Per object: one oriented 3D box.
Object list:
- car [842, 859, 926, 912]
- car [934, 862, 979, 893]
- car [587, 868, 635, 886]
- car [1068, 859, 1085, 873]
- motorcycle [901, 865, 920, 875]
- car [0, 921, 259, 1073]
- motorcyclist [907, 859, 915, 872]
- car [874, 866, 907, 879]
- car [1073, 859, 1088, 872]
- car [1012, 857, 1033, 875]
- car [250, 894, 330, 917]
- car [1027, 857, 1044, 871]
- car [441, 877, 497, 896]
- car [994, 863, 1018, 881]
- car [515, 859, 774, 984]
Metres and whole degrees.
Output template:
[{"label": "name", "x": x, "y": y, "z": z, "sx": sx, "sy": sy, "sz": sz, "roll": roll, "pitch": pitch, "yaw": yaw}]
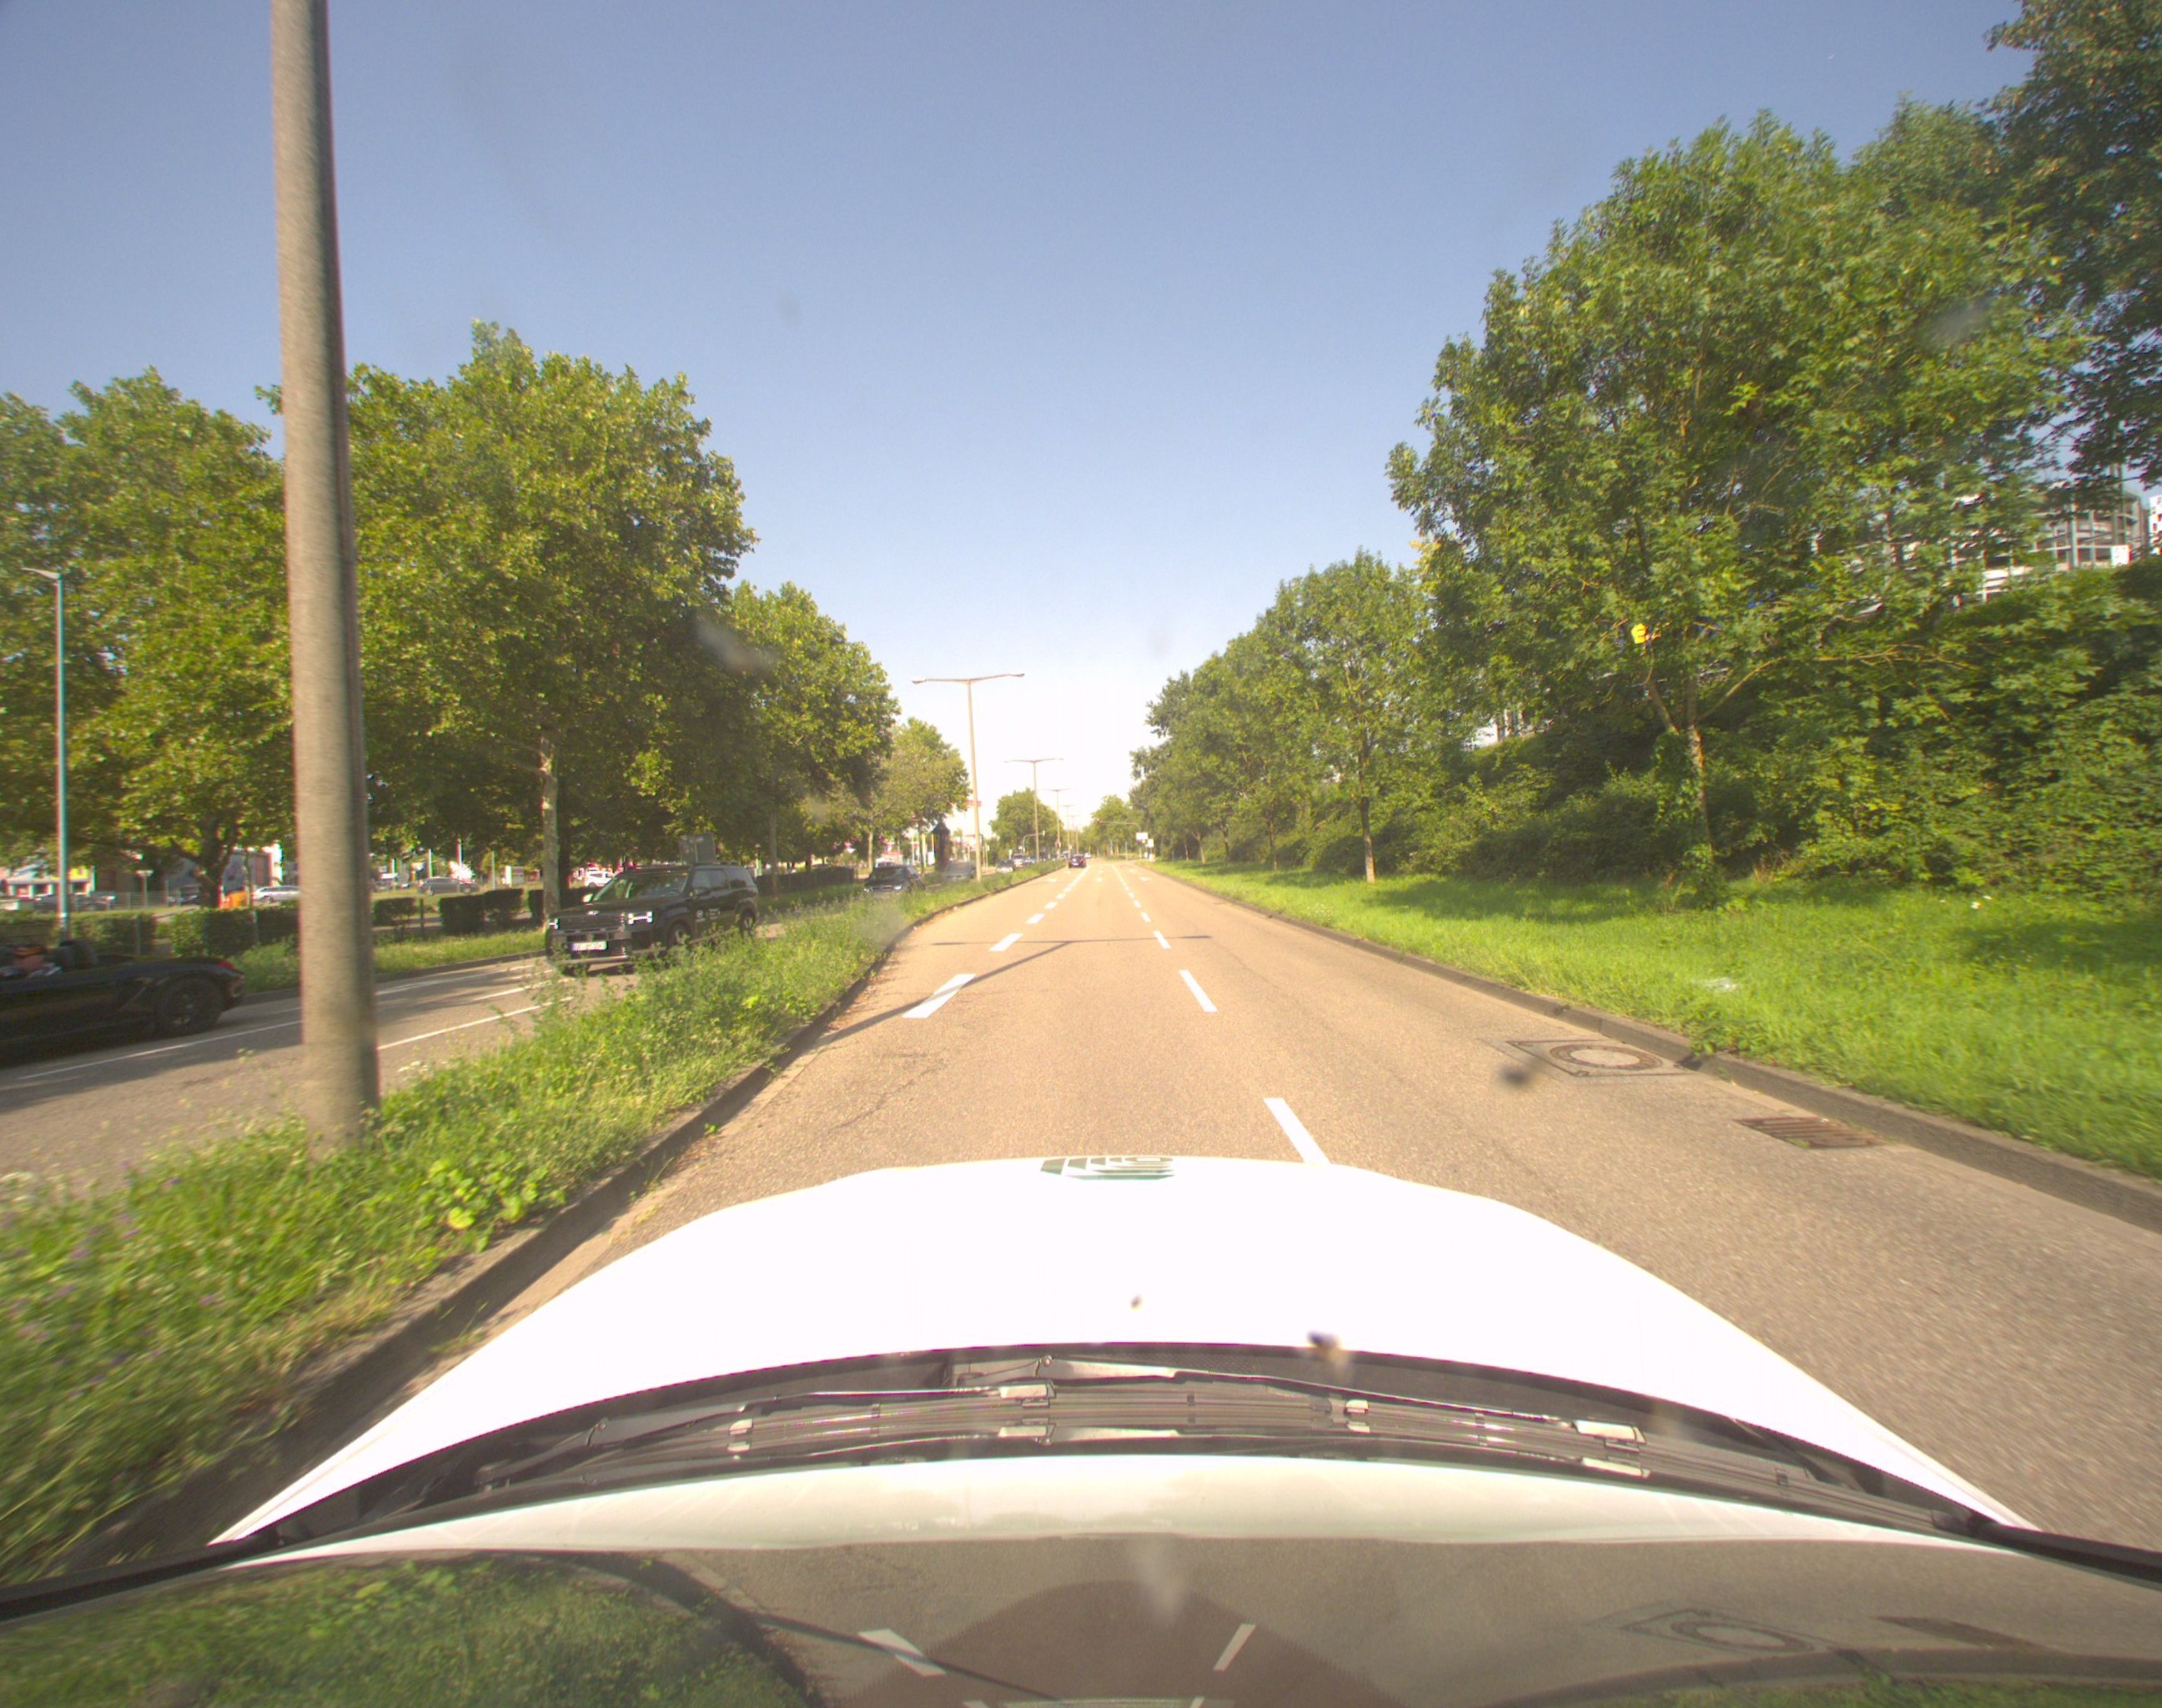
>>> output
[{"label": "car", "x": -7.529, "y": 1.144, "z": 31.627, "sx": 1.986, "sy": 1.759, "sz": 4.309, "roll": -4, "pitch": -1, "yaw": 2}, {"label": "car", "x": -7.249, "y": 1.345, "z": 47.805, "sx": 1.873, "sy": 1.594, "sz": 4.109, "roll": -3, "pitch": 0, "yaw": 1}, {"label": "car", "x": -47.119, "y": 2.263, "z": 81.715, "sx": 4.017, "sy": 1.679, "sz": 1.850, "roll": -1, "pitch": -1, "yaw": -36}, {"label": "car", "x": -0.495, "y": 1.318, "z": 93.121, "sx": 1.686, "sy": 1.486, "sz": 4.001, "roll": -3, "pitch": 0, "yaw": 1}, {"label": "motorcycle", "x": -20.802, "y": 1.949, "z": 99.399, "sx": 2.084, "sy": 1.136, "sz": 0.670, "roll": -2, "pitch": -1, "yaw": -34}, {"label": "car", "x": -11.161, "y": 1.505, "z": 8.016, "sx": 1.783, "sy": 1.263, "sz": 4.099, "roll": -4, "pitch": 0, "yaw": 3}, {"label": "motorcyclist", "x": -20.761, "y": 1.437, "z": 99.439, "sx": 0.686, "sy": 1.572, "sz": 0.676, "roll": -1, "pitch": -1, "yaw": -35}, {"label": "car", "x": -23.629, "y": 2.265, "z": 100.963, "sx": 3.718, "sy": 1.443, "sz": 1.451, "roll": -1, "pitch": -1, "yaw": -35}, {"label": "car", "x": -0.047, "y": 1.350, "z": 99.438, "sx": 1.686, "sy": 1.486, "sz": 4.001, "roll": -3, "pitch": 0, "yaw": 1}, {"label": "car", "x": -6.766, "y": 1.370, "z": 94.135, "sx": 1.925, "sy": 2.027, "sz": 4.567, "roll": -3, "pitch": 0, "yaw": 1}, {"label": "car", "x": -66.755, "y": 4.327, "z": 68.828, "sx": 4.612, "sy": 1.545, "sz": 1.849, "roll": -3, "pitch": -1, "yaw": -38}, {"label": "car", "x": -6.535, "y": 1.464, "z": 117.602, "sx": 1.988, "sy": 1.705, "sz": 4.504, "roll": -8, "pitch": 0, "yaw": 0}, {"label": "car", "x": -56.856, "y": 3.001, "z": 75.706, "sx": 4.016, "sy": 1.545, "sz": 1.820, "roll": -3, "pitch": 0, "yaw": -34}, {"label": "car", "x": -6.471, "y": 1.534, "z": 70.337, "sx": 1.670, "sy": 1.486, "sz": 3.493, "roll": -2, "pitch": 0, "yaw": 1}, {"label": "car", "x": -7.462, "y": 1.033, "z": 14.580, "sx": 1.986, "sy": 1.759, "sz": 4.479, "roll": -4, "pitch": 0, "yaw": 2}]
